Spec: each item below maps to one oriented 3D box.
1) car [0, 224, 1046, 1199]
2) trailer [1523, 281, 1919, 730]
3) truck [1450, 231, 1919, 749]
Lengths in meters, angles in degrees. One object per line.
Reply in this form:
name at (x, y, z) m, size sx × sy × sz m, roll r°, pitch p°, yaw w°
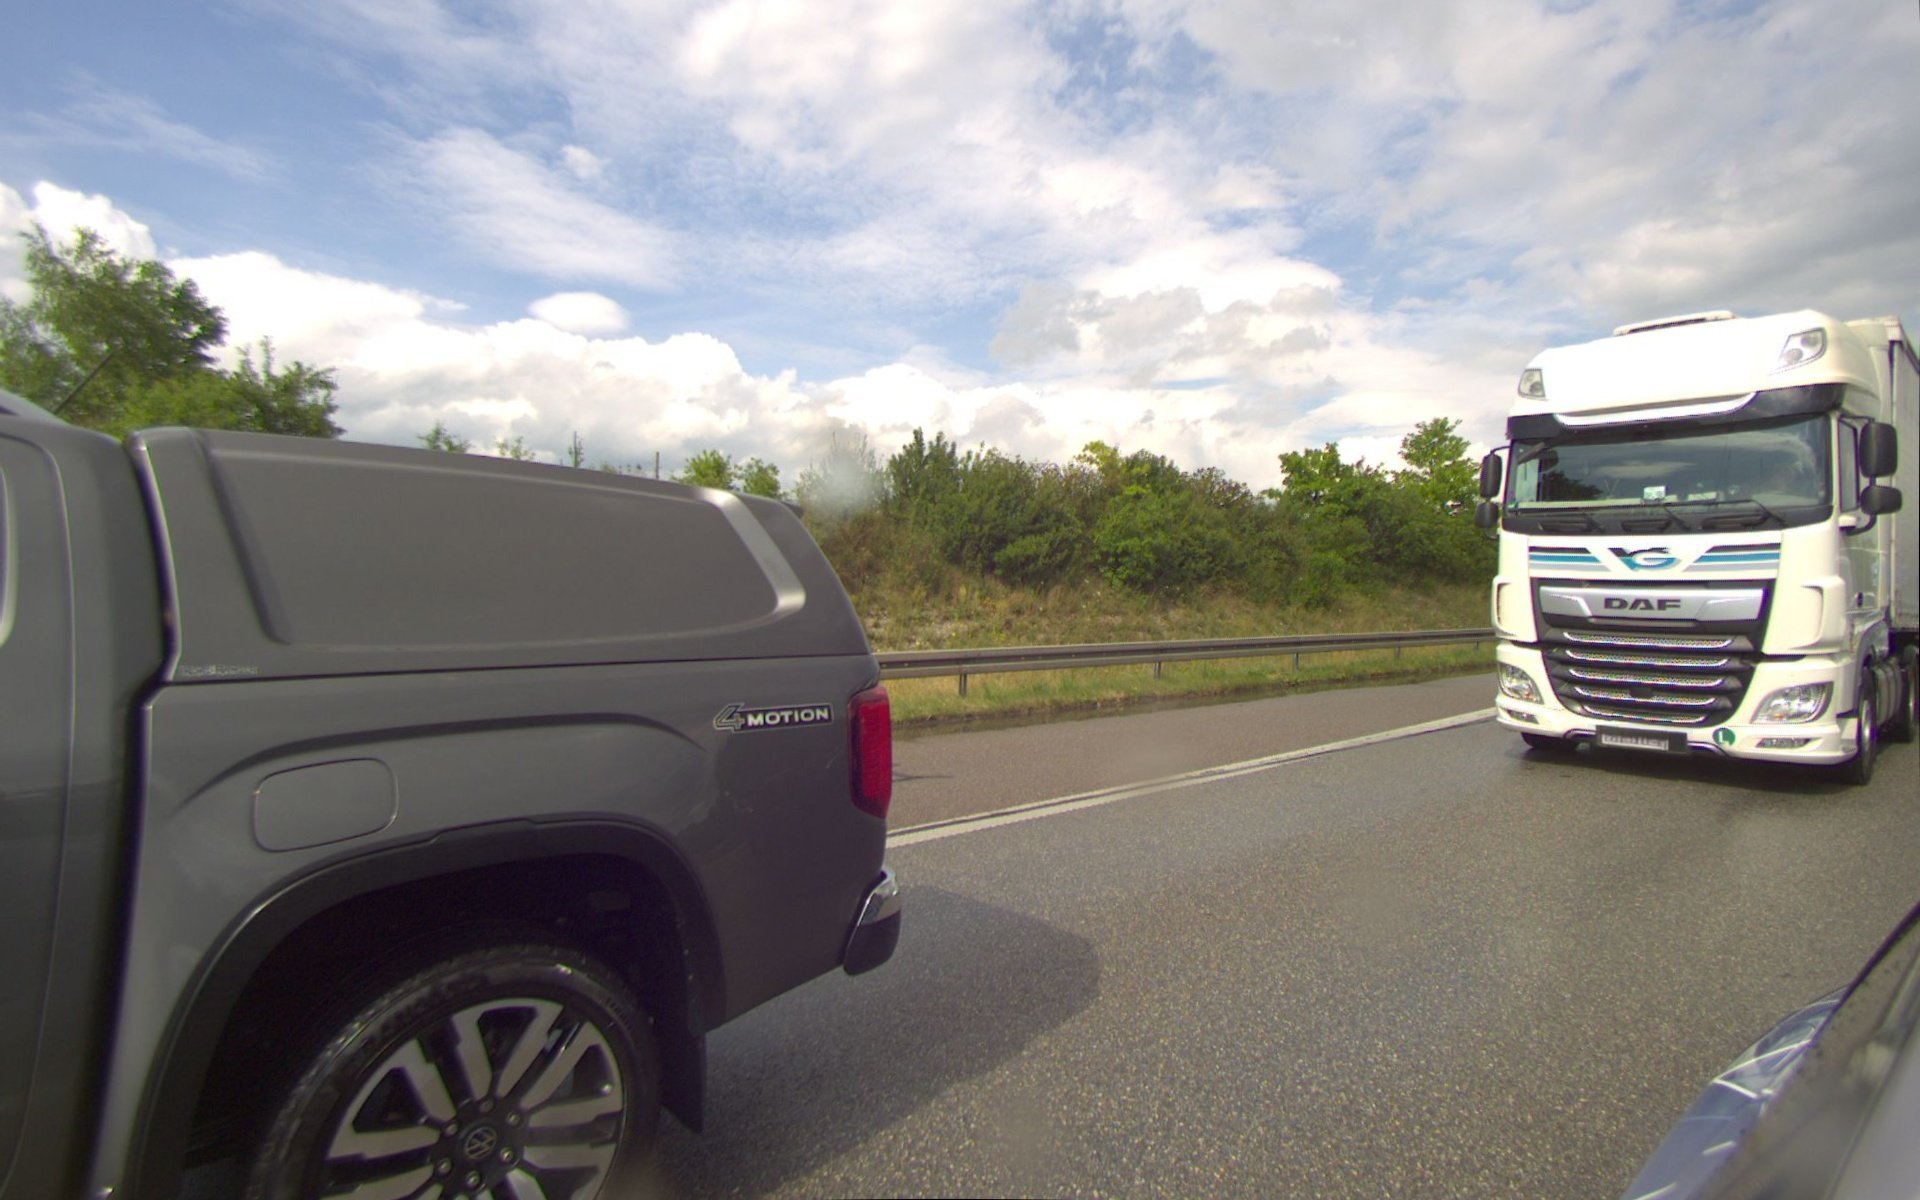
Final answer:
car at (-2.457, 0.431, 1.794) m, size 5.555 × 1.943 × 1.944 m, roll -1°, pitch 1°, yaw -42°
trailer at (12.530, -0.846, 14.769) m, size 13.886 × 3.948 × 3.288 m, roll 0°, pitch 0°, yaw -42°
truck at (8.338, -0.848, 11.045) m, size 6.286 × 3.940 × 3.288 m, roll 0°, pitch 0°, yaw -42°
